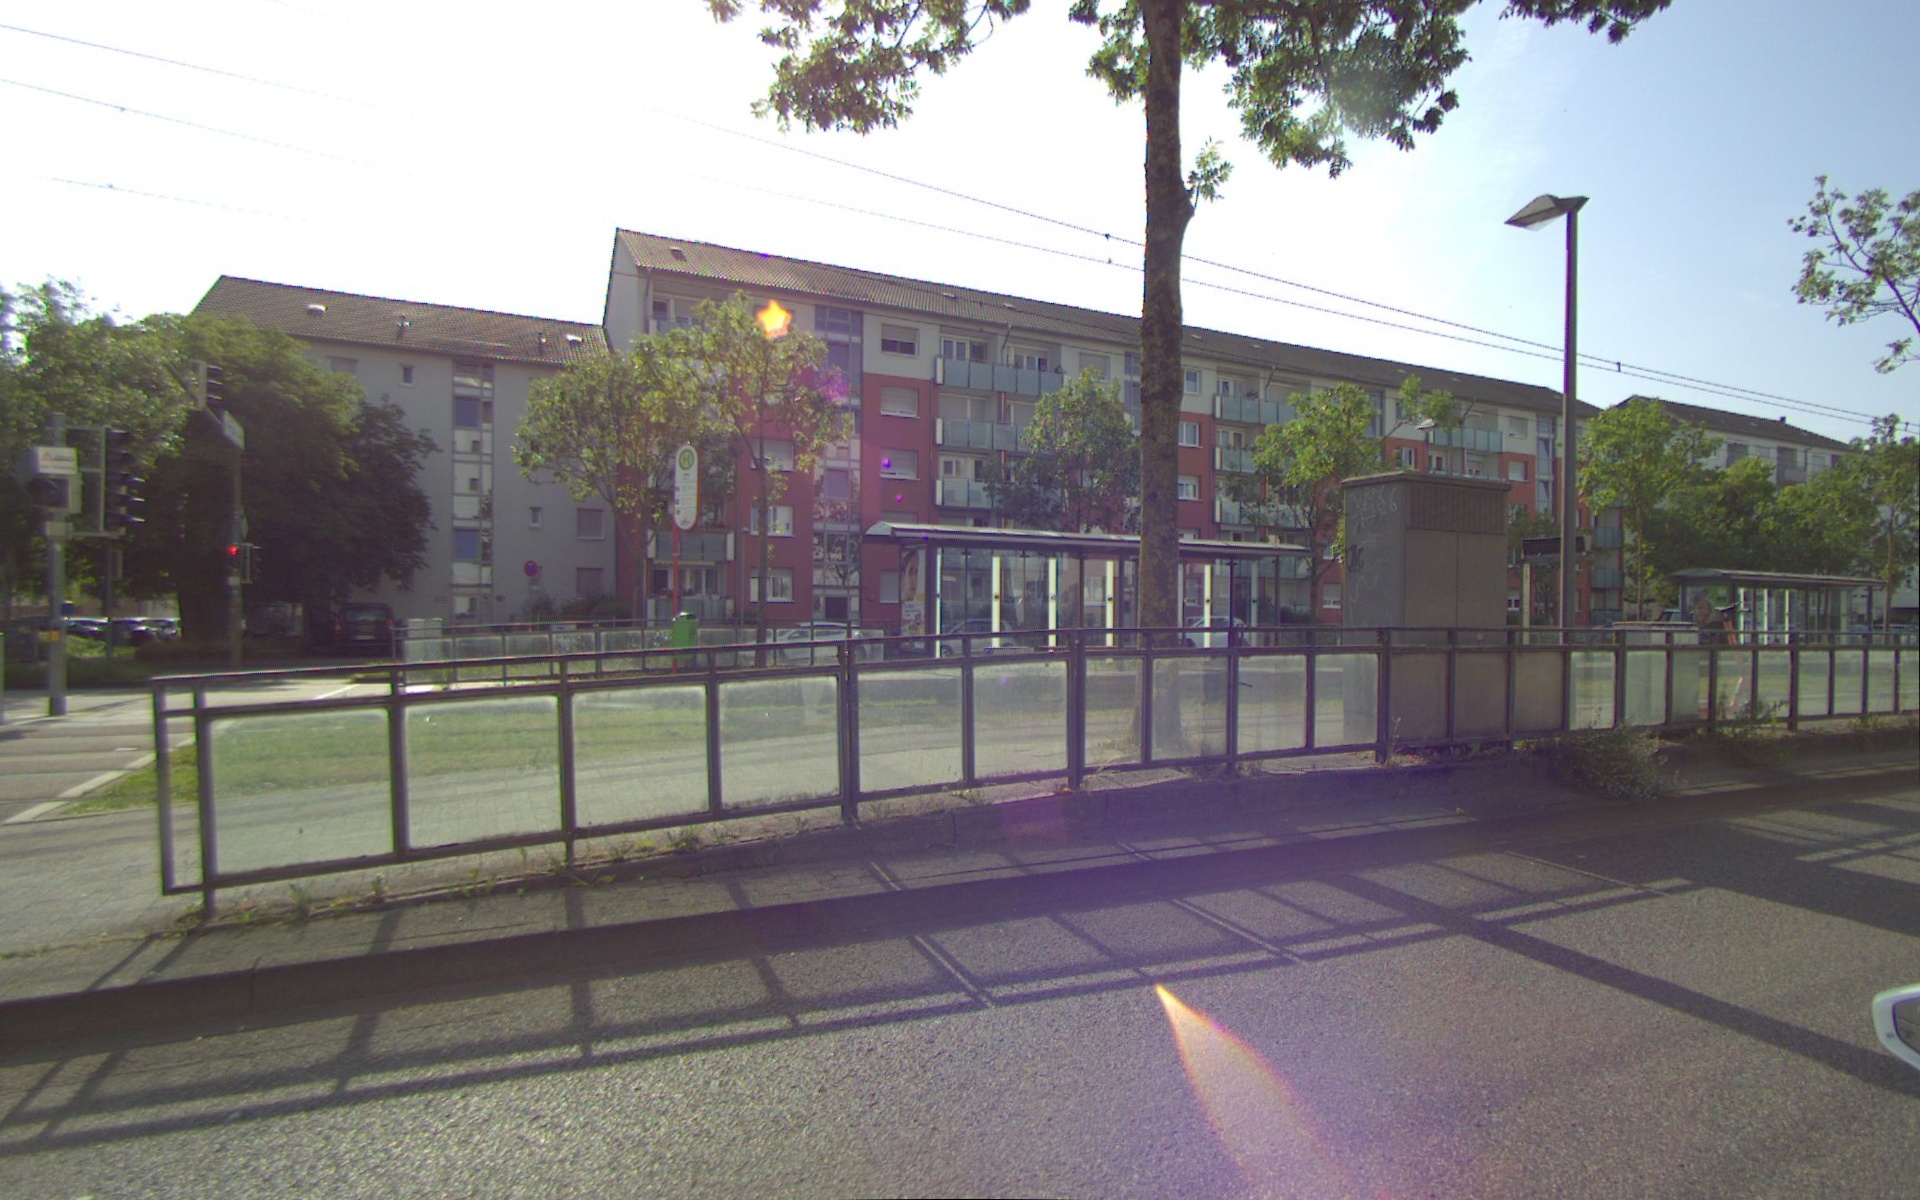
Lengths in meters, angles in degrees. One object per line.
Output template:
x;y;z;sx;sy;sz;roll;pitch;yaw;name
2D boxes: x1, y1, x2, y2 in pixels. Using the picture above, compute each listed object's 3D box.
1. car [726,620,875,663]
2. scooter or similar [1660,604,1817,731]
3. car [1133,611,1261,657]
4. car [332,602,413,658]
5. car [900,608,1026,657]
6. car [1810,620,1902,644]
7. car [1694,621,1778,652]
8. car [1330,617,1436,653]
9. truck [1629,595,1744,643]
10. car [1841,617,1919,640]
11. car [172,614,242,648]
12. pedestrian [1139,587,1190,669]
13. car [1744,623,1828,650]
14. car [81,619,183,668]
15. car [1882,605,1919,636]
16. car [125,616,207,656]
-4.843;1.252;30.539;4.111;1.163;1.826;1;1;-27;car
7.847;0.671;10.151;1.237;1.255;0.428;0;-1;1;scooter or similar
8.924;1.259;37.814;4.479;1.577;1.973;1;1;-27;car
-19.997;0.976;34.339;1.973;1.717;3.975;1;1;-25;car
0.096;1.076;33.373;3.778;1.491;1.826;1;1;-27;car
50.566;1.806;56.779;1.795;1.261;4.002;1;-1;4;car
41.953;1.946;54.287;4.226;1.534;1.973;1;1;-27;car
17.708;1.443;42.046;4.017;1.379;1.973;1;1;-27;car
41.851;1.129;57.831;7.148;2.597;2.357;1;1;-27;truck
53.918;1.653;58.194;1.905;1.261;3.992;1;-1;-10;car
-36.751;1.489;49.122;1.795;1.495;3.977;1;1;-23;car
4.235;0.576;20.797;0.785;1.675;0.668;1;-1;-31;pedestrian
46.734;2.044;56.817;4.623;1.397;1.973;1;1;-27;car
-31.889;1.634;38.809;1.971;1.627;3.977;1;1;-23;car
68.376;1.486;71.522;5.243;2.058;2.357;1;1;-27;car
-34.160;1.530;43.329;1.795;1.495;3.977;1;1;-23;car
